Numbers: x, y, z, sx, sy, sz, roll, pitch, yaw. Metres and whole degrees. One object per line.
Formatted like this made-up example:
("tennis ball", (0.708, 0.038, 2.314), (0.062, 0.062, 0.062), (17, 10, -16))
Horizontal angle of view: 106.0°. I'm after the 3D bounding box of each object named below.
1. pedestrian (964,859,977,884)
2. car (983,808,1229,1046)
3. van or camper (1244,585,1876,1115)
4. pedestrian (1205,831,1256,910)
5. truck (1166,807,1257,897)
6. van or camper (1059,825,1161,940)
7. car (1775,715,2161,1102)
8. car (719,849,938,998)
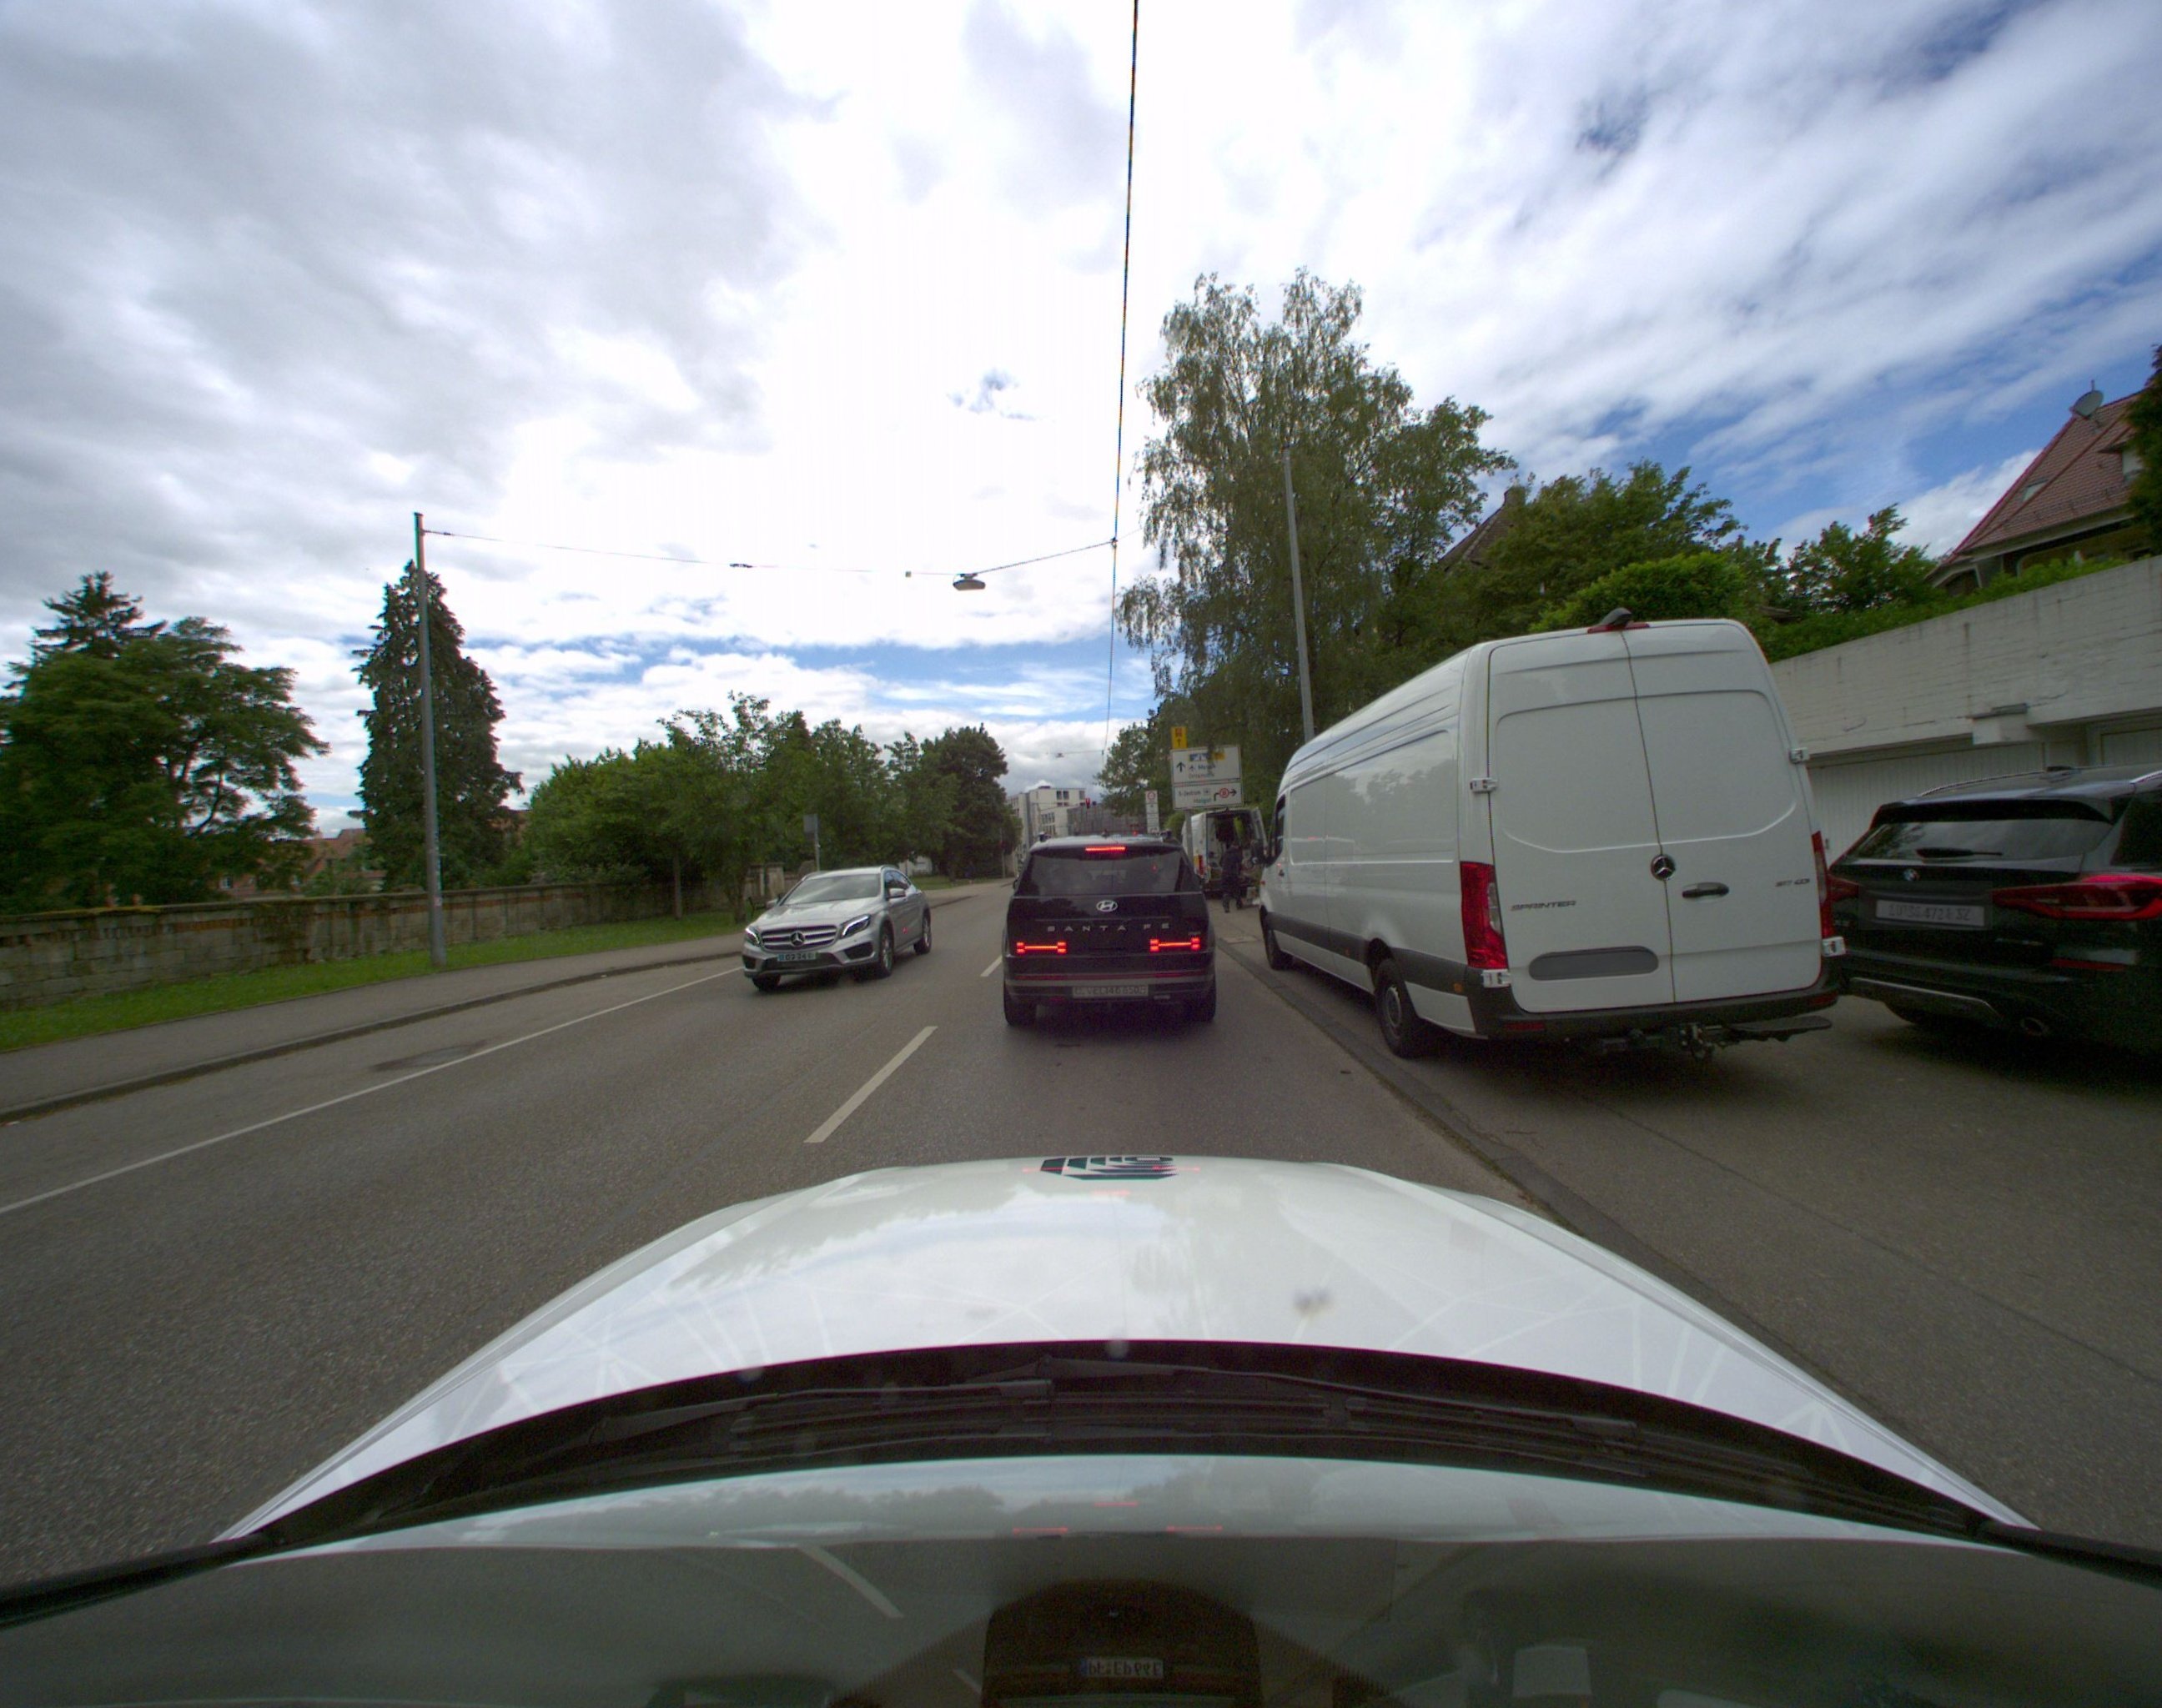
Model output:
("pedestrian", (-7.632, 1.210, 56.129), (0.737, 1.715, 0.791), (-3, 0, -5))
("car", (0.256, 0.578, 8.392), (1.883, 1.819, 4.002), (-2, 0, 2))
("van or camper", (3.109, -0.016, 7.455), (1.986, 2.620, 6.543), (-3, 0, 2))
("pedestrian", (3.540, 0.380, 19.275), (0.750, 1.797, 0.878), (-3, -1, 40))
("truck", (4.215, -0.031, 27.218), (1.937, 2.561, 5.213), (-5, -1, -1))
("van or camper", (0.591, 0.522, 16.869), (1.748, 2.013, 4.002), (-3, 0, 2))
("car", (6.838, 0.142, 4.486), (4.398, 1.750, 1.739), (-3, 0, 3))
("car", (-3.454, 0.860, 12.021), (1.779, 1.653, 4.120), (-6, 0, 0))
